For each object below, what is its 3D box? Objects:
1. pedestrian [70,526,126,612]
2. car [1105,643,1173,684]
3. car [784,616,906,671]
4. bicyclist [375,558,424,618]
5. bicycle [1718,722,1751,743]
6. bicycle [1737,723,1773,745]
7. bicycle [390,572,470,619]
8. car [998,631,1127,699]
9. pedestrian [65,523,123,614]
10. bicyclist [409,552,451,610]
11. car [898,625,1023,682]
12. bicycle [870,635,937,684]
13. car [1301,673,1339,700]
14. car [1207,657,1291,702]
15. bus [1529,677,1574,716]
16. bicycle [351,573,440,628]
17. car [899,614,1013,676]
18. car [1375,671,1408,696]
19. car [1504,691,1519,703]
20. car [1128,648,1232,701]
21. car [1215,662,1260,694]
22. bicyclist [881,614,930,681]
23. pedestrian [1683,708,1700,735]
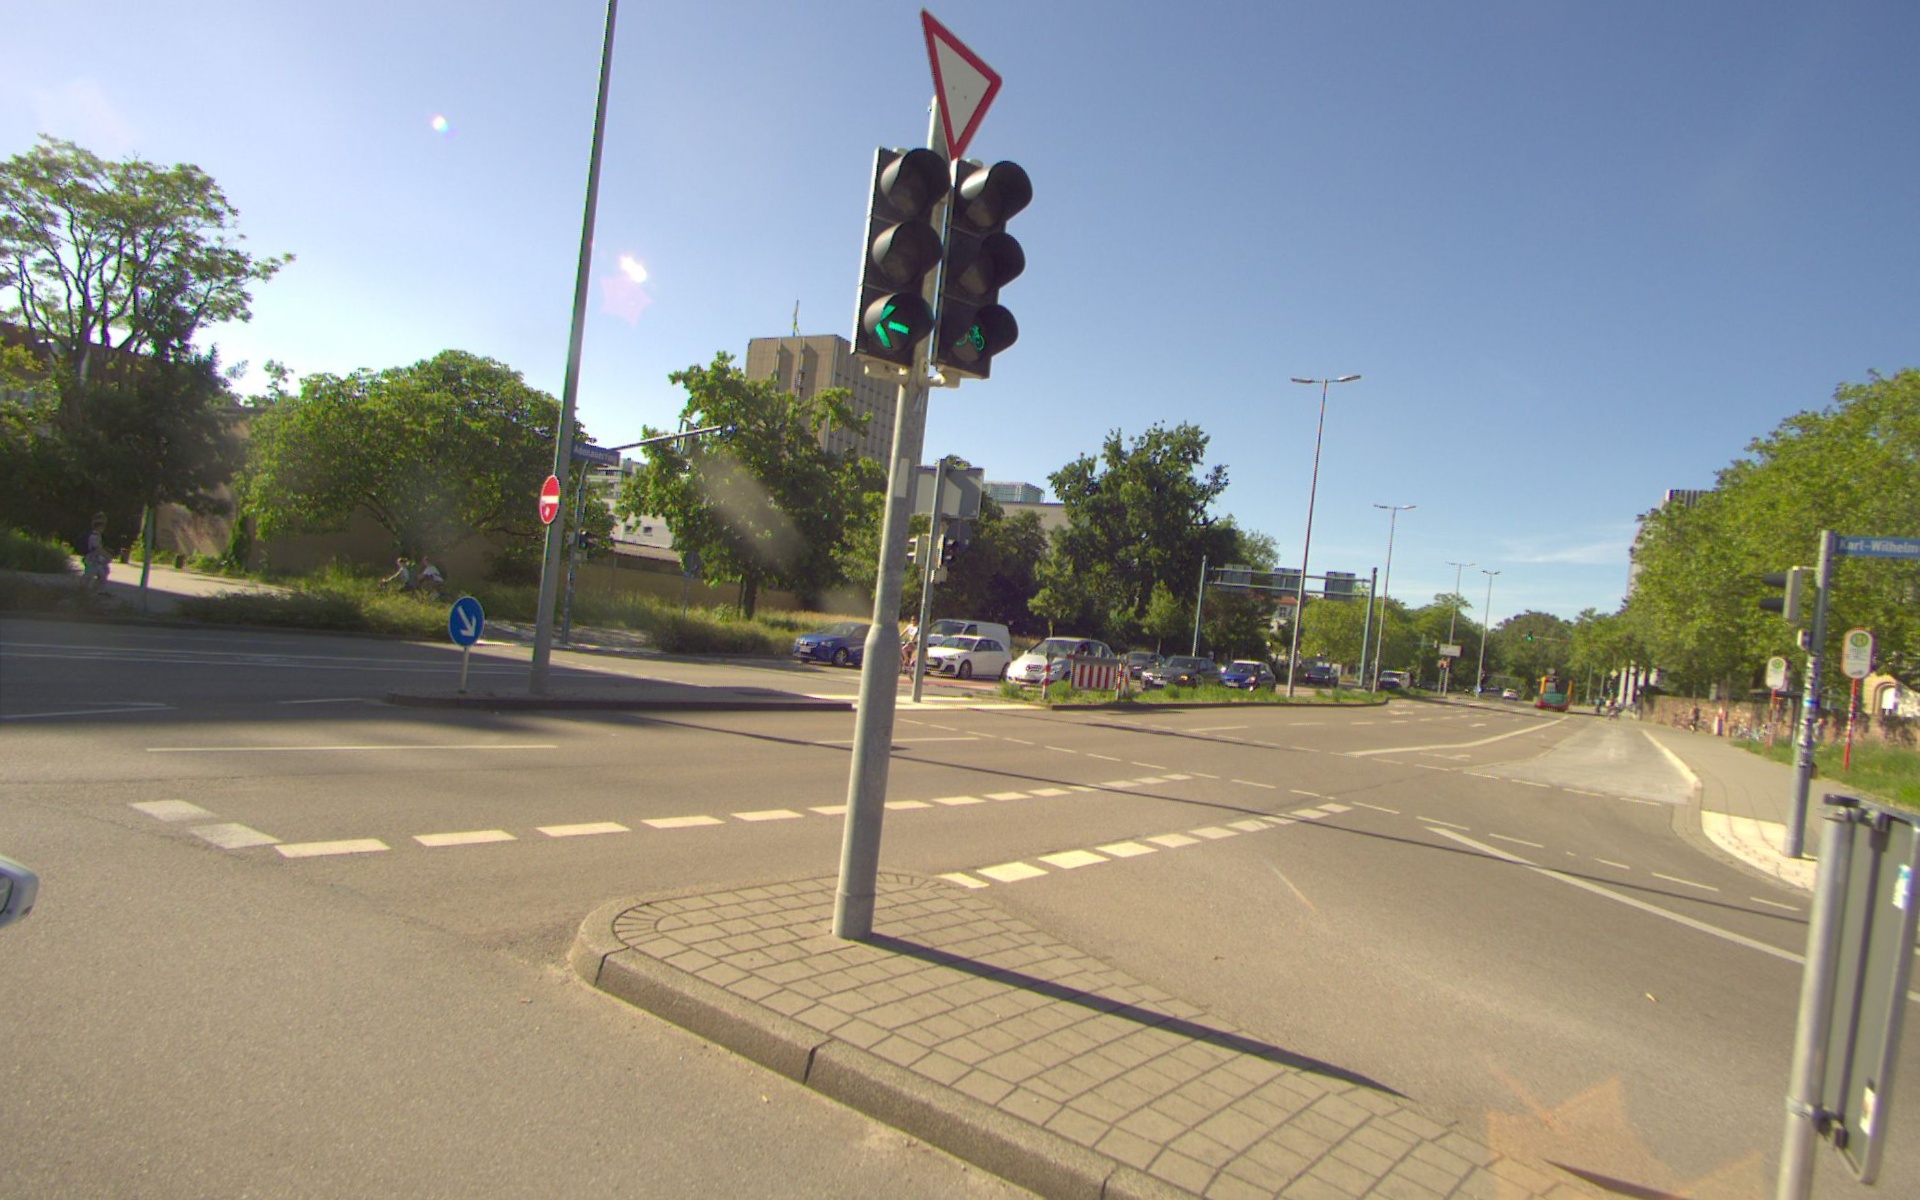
[{"bbox_3d":[-19.264,-0.696,22.488,0.731,1.802,0.723,9,-3,-42],"label":"pedestrian"},{"bbox_3d":[9.487,3.364,53.033,1.908,1.820,4.352,5,-2,32],"label":"car"},{"bbox_3d":[-3.699,1.445,32.993,1.678,1.459,3.990,4,-2,34],"label":"car"},{"bbox_3d":[-14.654,-0.320,26.308,0.762,1.462,0.643,7,1,-1],"label":"bicyclist"},{"bbox_3d":[47.028,8.007,61.095,0.781,1.088,2.089,7,-3,16],"label":"bicycle"},{"bbox_3d":[46.464,7.801,58.823,0.781,1.088,2.089,7,-3,16],"label":"bicycle"},{"bbox_3d":[-15.910,-0.135,30.228,0.634,1.180,1.947,10,2,43],"label":"bicycle"},{"bbox_3d":[3.052,1.913,29.064,1.762,1.643,4.305,4,-2,34],"label":"car"},{"bbox_3d":[-18.619,-0.668,21.627,0.731,1.836,0.723,9,-3,-42],"label":"pedestrian"},{"bbox_3d":[-15.891,-0.558,30.167,0.622,1.616,0.828,10,3,42],"label":"bicyclist"},{"bbox_3d":[0.084,1.796,33.222,1.971,1.486,3.984,5,-1,39],"label":"car"},{"bbox_3d":[-1.496,1.602,27.014,0.736,1.180,1.865,6,0,33],"label":"bicycle"},{"bbox_3d":[29.953,7.184,83.634,1.907,1.975,4.750,5,-2,31],"label":"car"},{"bbox_3d":[12.296,3.406,42.593,1.953,1.572,4.712,4,-3,34],"label":"car"},{"bbox_3d":[58.115,9.575,99.004,2.935,3.309,6.259,6,-3,25],"label":"bus"},{"bbox_3d":[-14.758,0.008,26.313,1.836,1.180,0.642,8,1,-2],"label":"bicycle"},{"bbox_3d":[-0.069,1.757,38.638,1.909,1.975,4.745,4,-2,34],"label":"car"},{"bbox_3d":[40.350,7.819,94.040,1.908,1.975,4.522,5,-2,33],"label":"car"},{"bbox_3d":[84.035,14.794,153.341,1.666,1.611,3.591,5,-2,33],"label":"car"},{"bbox_3d":[8.019,2.720,36.369,1.953,1.572,4.712,4,-3,34],"label":"car"},{"bbox_3d":[18.344,5.193,66.354,1.815,1.850,4.386,5,-2,29],"label":"car"},{"bbox_3d":[-1.468,1.278,27.002,0.734,1.706,0.975,7,1,33],"label":"bicyclist"},{"bbox_3d":[45.823,7.617,63.033,0.642,1.629,0.558,6,-2,29],"label":"pedestrian"}]
